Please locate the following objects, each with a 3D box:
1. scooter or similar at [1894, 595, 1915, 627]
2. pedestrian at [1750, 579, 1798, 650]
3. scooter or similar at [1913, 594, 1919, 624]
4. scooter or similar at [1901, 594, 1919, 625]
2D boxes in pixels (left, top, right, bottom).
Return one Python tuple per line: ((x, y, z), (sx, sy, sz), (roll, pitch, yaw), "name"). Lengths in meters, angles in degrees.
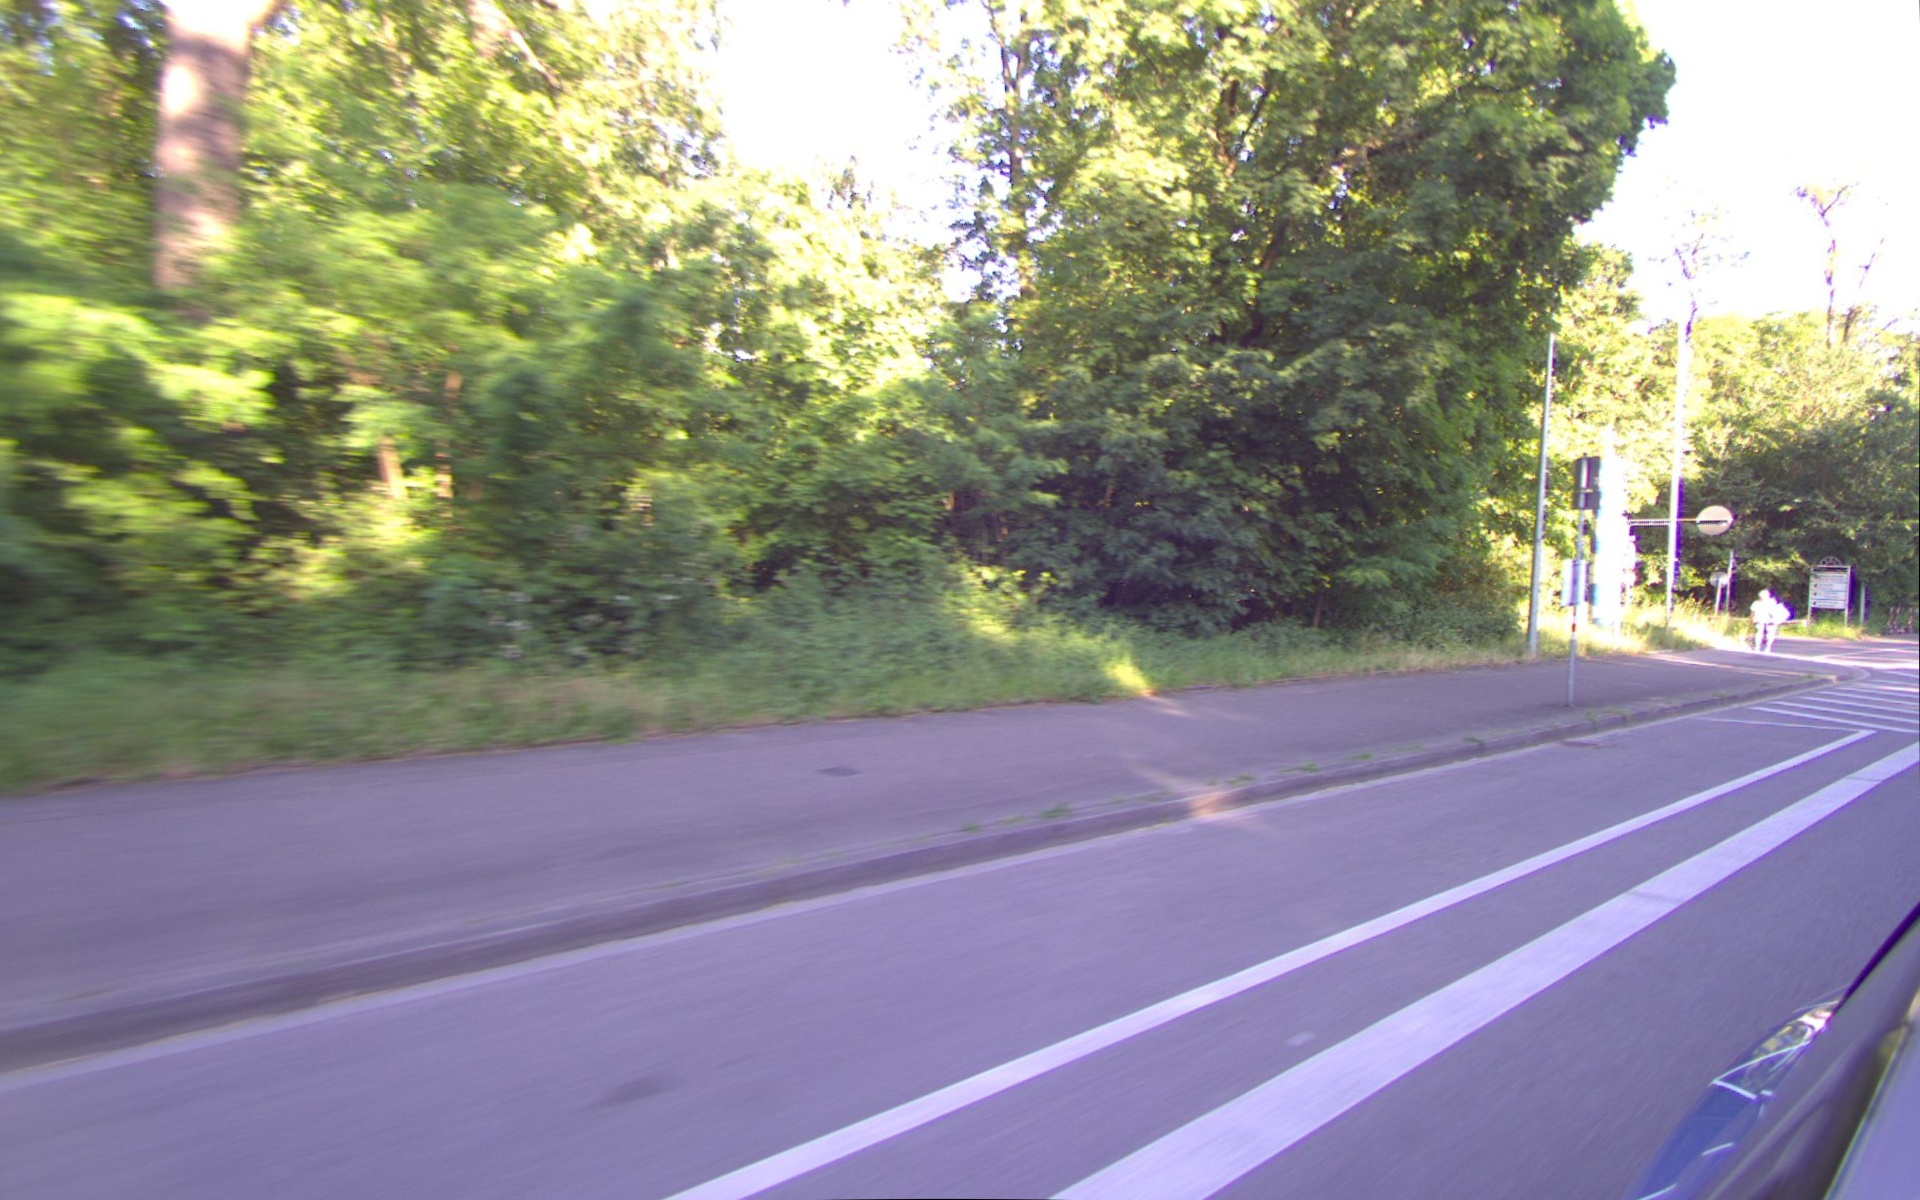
((36.039, 0.415, 38.630), (1.166, 1.199, 0.386), (0, 2, -39), "scooter or similar")
((21.627, 0.362, 26.883), (0.721, 1.821, 0.809), (0, 2, -39), "pedestrian")
((38.352, 0.366, 40.306), (1.083, 1.199, 0.386), (0, 2, -39), "scooter or similar")
((37.320, 0.378, 39.715), (1.083, 1.199, 0.386), (0, 2, -39), "scooter or similar")
